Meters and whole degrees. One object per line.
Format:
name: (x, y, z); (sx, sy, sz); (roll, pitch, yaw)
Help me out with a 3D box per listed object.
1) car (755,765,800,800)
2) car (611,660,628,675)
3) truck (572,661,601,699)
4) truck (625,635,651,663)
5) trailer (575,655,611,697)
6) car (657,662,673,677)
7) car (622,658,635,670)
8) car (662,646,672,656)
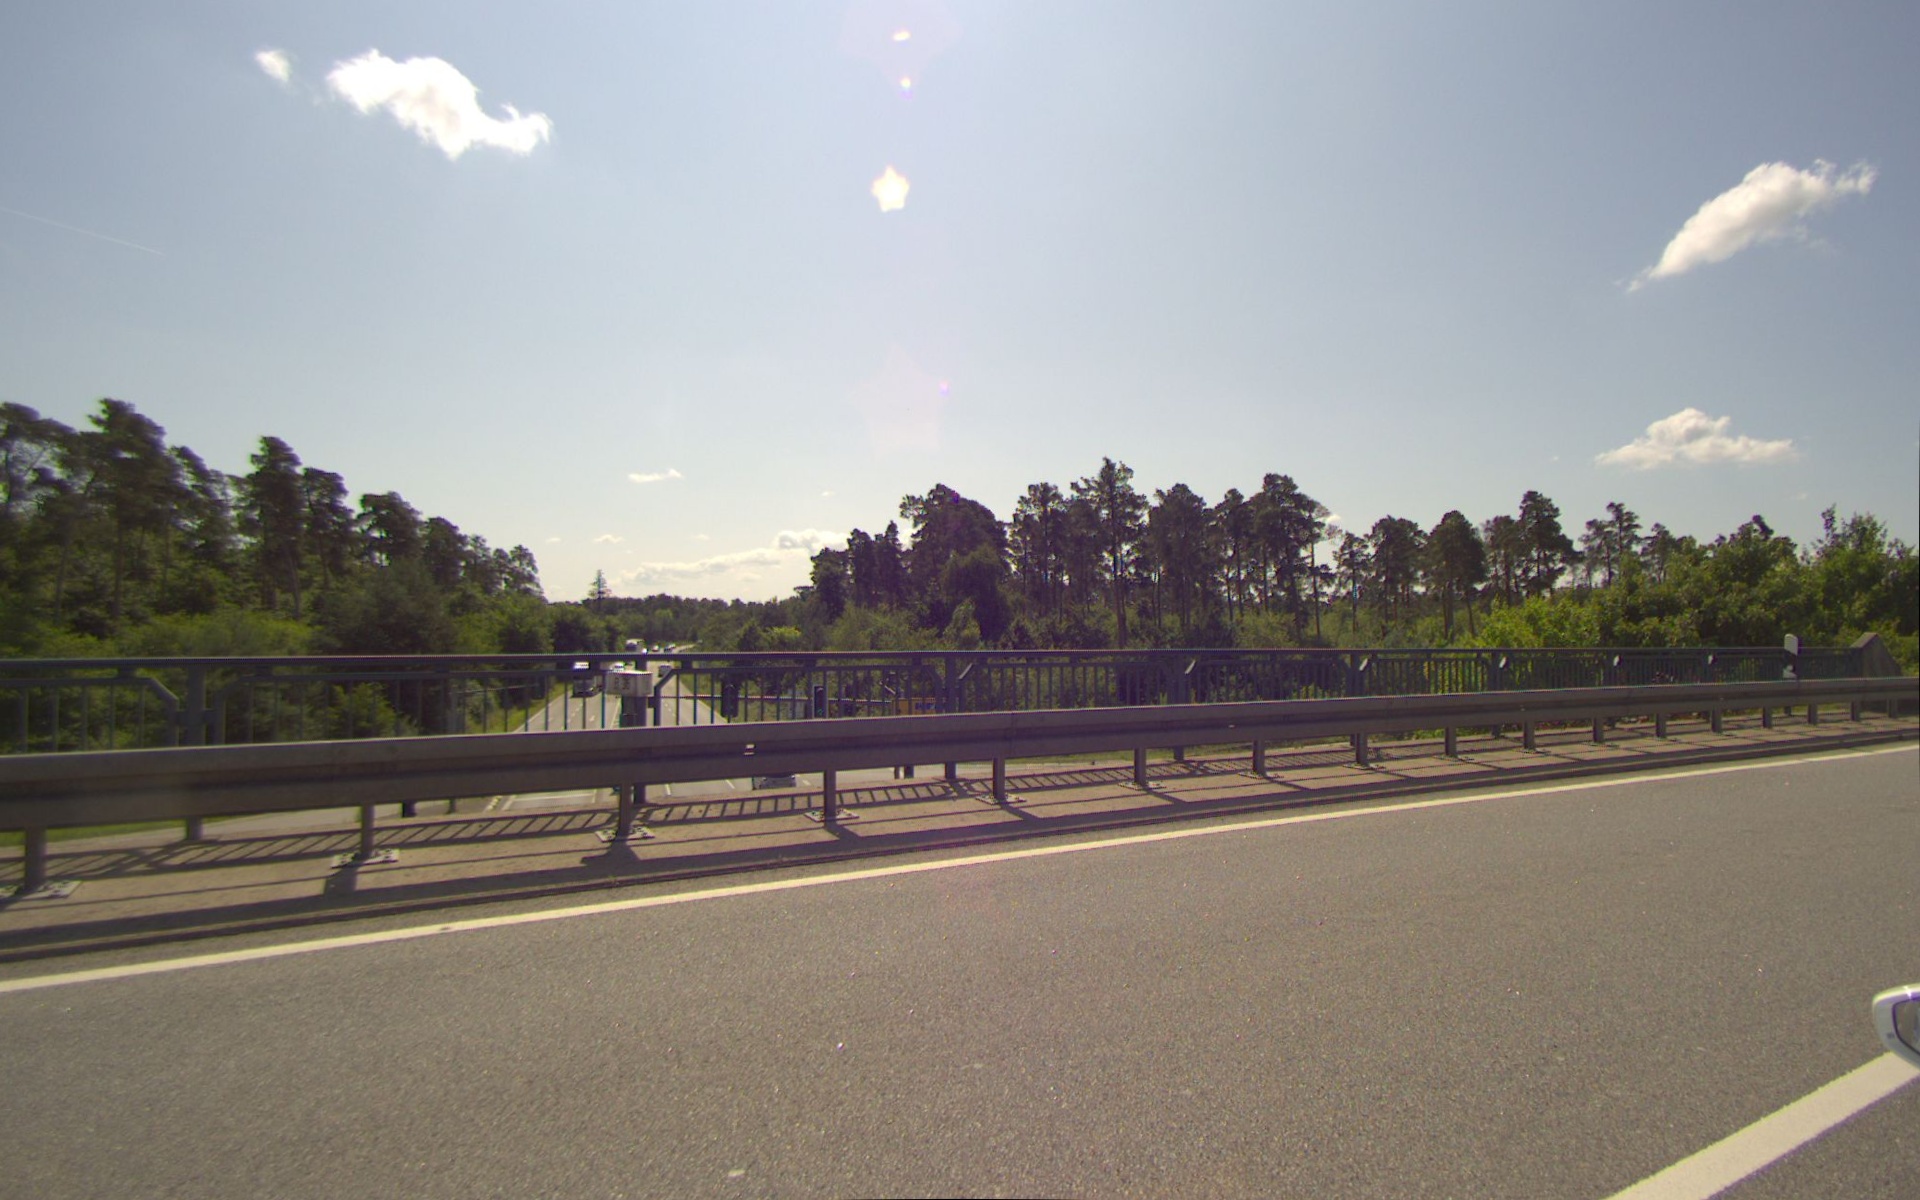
car: (-9.194, 9.131, 50.396); (1.448, 1.136, 3.574); (1, -1, -24)
car: (-54.901, 10.864, 162.115); (2.107, 1.913, 4.804); (2, 0, -14)
truck: (-44.711, 9.529, 120.389); (2.571, 4.056, 5.324); (2, 0, -14)
truck: (-70.606, 10.665, 220.574); (3.560, 4.972, 14.615); (2, 0, -11)
trailer: (-46.398, 9.498, 127.277); (2.571, 4.056, 14.348); (2, 0, -14)
car: (-46.995, 11.097, 160.217); (2.107, 1.913, 4.804); (2, 0, -14)
car: (-64.058, 12.365, 194.118); (2.107, 1.913, 4.804); (2, 0, -14)
car: (-71.335, 12.376, 244.766); (2.107, 1.913, 4.804); (2, 0, -14)
